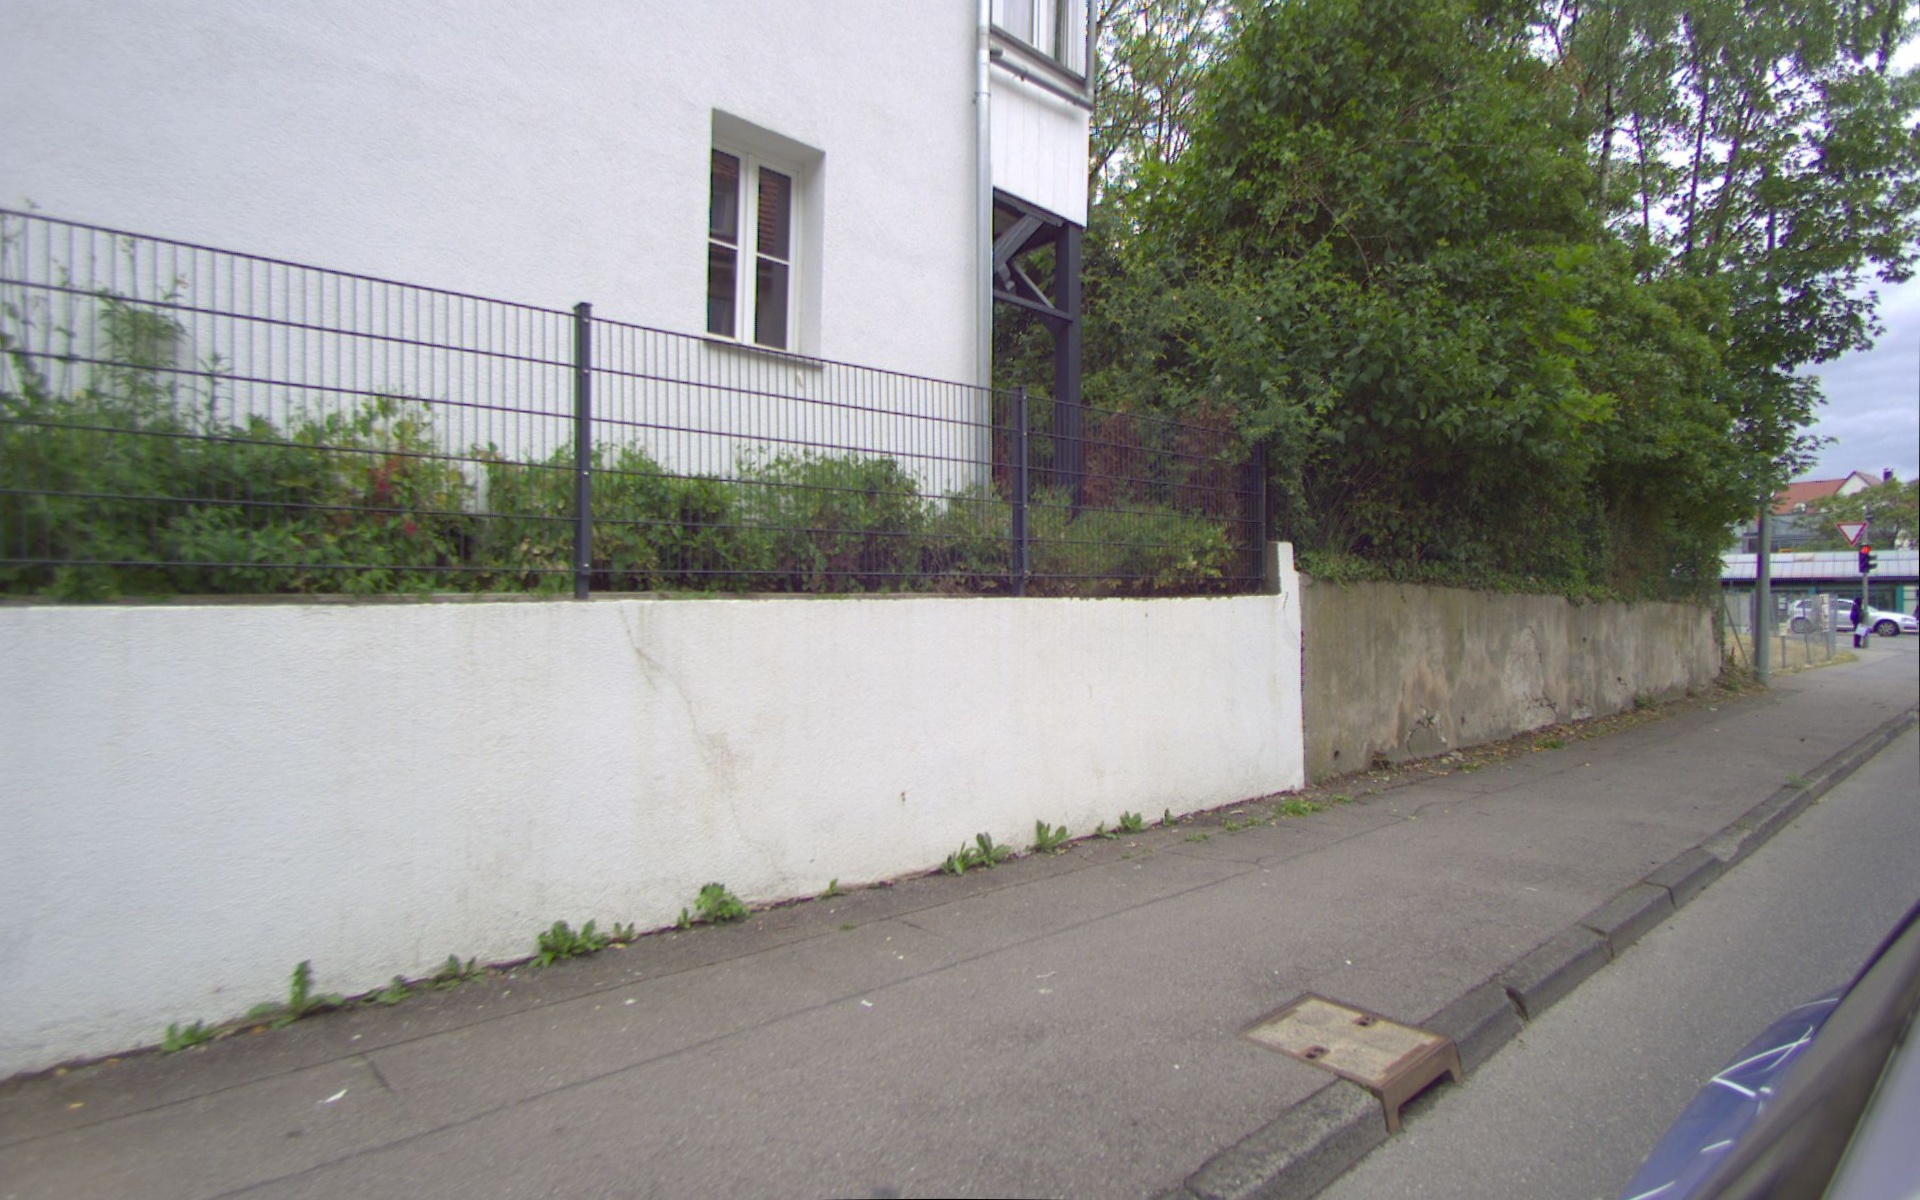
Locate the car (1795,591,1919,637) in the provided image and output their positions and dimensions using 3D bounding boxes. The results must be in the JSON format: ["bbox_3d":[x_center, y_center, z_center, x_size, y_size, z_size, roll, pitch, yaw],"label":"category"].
[{"bbox_3d":[35.307,0.523,39.598,3.986,1.714,1.944,0,0,44],"label":"car"}]

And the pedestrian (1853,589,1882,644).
[{"bbox_3d":[27.681,0.491,30.866,0.661,1.610,0.552,0,2,-44],"label":"pedestrian"}]
